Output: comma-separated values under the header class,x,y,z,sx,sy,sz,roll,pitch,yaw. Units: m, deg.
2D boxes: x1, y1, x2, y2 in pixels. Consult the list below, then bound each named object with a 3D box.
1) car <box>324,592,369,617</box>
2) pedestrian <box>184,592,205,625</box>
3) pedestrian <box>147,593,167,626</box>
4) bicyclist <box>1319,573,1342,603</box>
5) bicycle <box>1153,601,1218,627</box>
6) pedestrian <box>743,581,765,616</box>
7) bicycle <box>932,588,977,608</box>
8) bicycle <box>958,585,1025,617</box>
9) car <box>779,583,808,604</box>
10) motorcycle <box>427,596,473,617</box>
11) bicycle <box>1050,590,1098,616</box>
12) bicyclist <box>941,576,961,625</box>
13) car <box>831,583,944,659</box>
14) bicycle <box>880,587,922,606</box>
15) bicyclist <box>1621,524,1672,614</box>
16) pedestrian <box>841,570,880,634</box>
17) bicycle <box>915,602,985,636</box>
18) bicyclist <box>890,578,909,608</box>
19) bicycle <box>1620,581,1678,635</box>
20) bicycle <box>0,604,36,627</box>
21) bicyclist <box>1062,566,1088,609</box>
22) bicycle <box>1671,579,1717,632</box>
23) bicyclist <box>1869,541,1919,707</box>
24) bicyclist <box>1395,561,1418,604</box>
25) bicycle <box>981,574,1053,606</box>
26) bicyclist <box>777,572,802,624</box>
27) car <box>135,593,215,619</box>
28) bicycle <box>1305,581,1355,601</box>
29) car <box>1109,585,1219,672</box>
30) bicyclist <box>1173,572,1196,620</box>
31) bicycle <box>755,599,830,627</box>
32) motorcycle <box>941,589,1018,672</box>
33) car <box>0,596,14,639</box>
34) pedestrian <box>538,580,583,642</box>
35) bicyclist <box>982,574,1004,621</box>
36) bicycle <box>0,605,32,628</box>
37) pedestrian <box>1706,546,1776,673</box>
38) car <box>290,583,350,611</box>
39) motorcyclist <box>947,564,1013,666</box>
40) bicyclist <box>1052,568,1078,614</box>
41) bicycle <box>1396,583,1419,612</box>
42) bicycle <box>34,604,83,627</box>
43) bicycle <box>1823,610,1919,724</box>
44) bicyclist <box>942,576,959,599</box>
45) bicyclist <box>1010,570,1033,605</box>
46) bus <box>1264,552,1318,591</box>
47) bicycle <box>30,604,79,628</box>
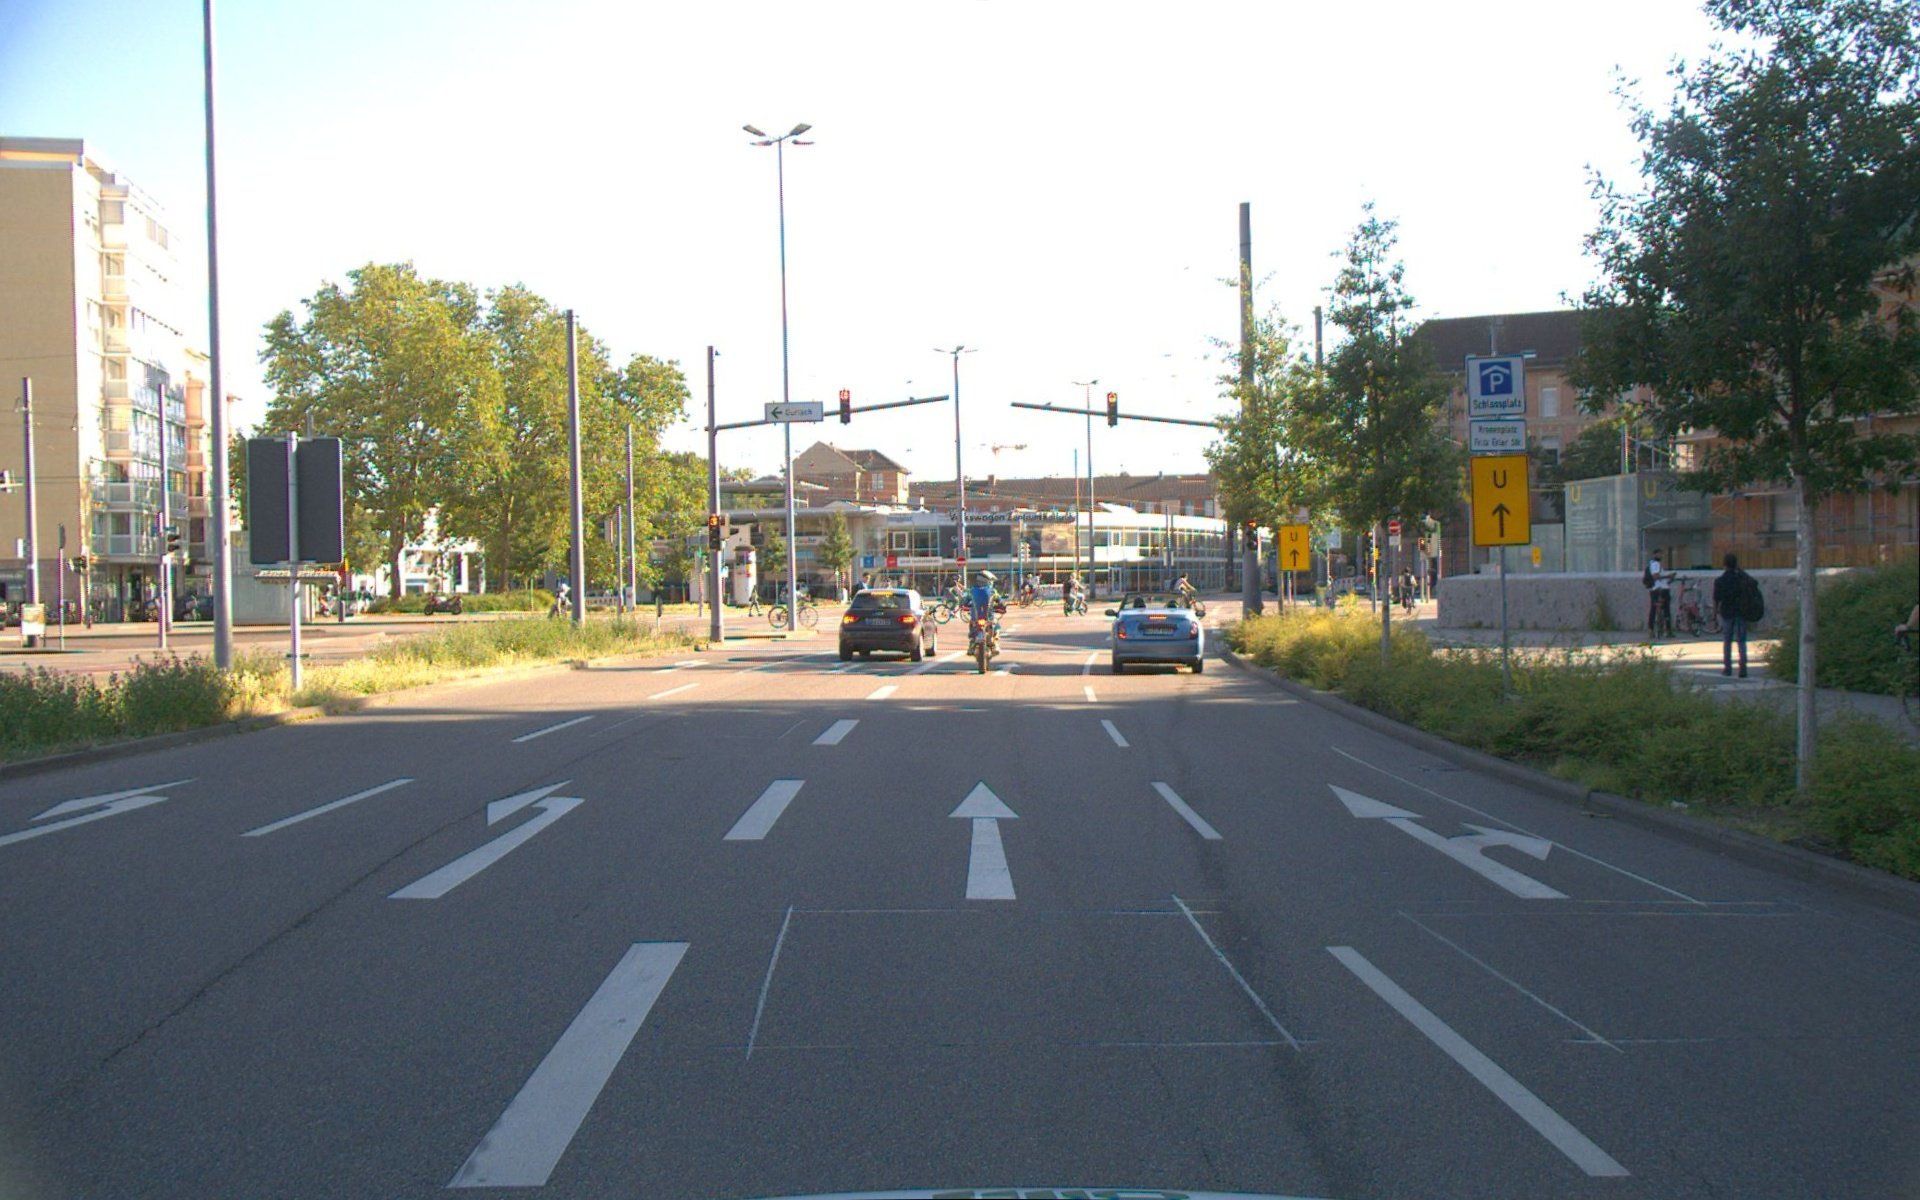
class,x,y,z,sx,sy,sz,roll,pitch,yaw
car,-37.072,0.261,99.972,1.813,1.477,3.991,-1,0,-10
pedestrian,-40.201,0.453,86.875,0.762,1.705,0.780,-1,0,-11
pedestrian,-42.021,0.510,86.550,0.762,1.705,0.780,-1,0,-11
bicyclist,19.879,-0.650,88.842,0.906,1.587,0.961,-1,0,-9
bicycle,8.285,0.509,60.780,2.254,0.921,0.858,-1,2,-10
pedestrian,-10.900,-0.084,87.632,0.968,1.847,0.921,0,2,4
bicycle,-0.283,-0.120,89.048,2.261,0.976,0.856,-2,3,-18
bicycle,1.193,0.042,62.662,2.449,1.153,0.858,-1,2,-12
car,-13.742,-0.525,136.271,1.952,1.561,4.001,0,2,0
motorcycle,-26.853,0.347,87.107,2.241,1.072,0.686,-1,2,-7
bicycle,4.661,0.115,67.490,0.843,0.921,2.294,1,3,37
bicyclist,-0.321,0.002,59.308,0.636,1.720,0.859,0,2,-5
car,-1.436,0.388,34.416,1.762,1.469,3.981,1,1,6
bicycle,-3.278,-0.204,91.599,2.254,0.996,0.858,-1,2,-11
bicyclist,14.412,-0.647,34.733,0.770,1.817,0.894,-3,-1,14
pedestrian,-2.688,0.045,44.696,0.819,1.701,0.691,-1,0,-33
bicycle,-0.350,0.660,59.319,2.445,1.153,0.859,0,2,-6
bicyclist,-3.345,-0.386,91.586,0.907,1.586,0.858,-1,2,-11
bicycle,14.464,0.166,34.771,0.772,1.057,1.964,-3,-1,14
bicycle,-47.742,0.796,83.215,2.007,1.109,0.774,-1,0,-14
bicyclist,4.694,-0.531,67.531,0.843,1.720,0.649,1,2,37
bicycle,15.442,0.107,34.776,0.615,1.057,1.959,-3,-1,31
bicyclist,8.492,0.209,14.225,0.705,1.409,1.074,0,-1,-5
bicyclist,17.542,-0.678,65.011,0.772,1.621,0.948,-3,-1,14
bicycle,3.238,-0.566,93.598,3.917,1.719,1.136,-1,2,-13
bicyclist,-5.879,-0.078,56.900,0.733,1.720,0.857,-1,2,-15
car,-45.664,0.335,96.329,3.923,1.447,1.805,-1,0,-17
bicycle,19.877,-0.472,88.842,2.393,1.021,0.961,-1,0,-10
car,3.830,0.475,30.530,1.762,1.469,3.982,1,1,11
bicyclist,8.236,-0.157,60.745,0.637,1.720,0.858,-1,2,-9
bicycle,-5.771,0.442,56.952,2.452,0.889,0.857,-1,2,-16
motorcycle,0.374,0.513,29.139,1.072,1.401,2.655,0,0,7
car,-44.596,0.777,74.957,3.929,1.889,1.842,2,3,42
pedestrian,-10.811,0.289,44.808,1.071,1.634,0.698,0,2,-5
bicyclist,1.255,-0.098,62.673,0.638,1.720,0.858,-1,2,-12
bicycle,-47.468,0.828,82.387,2.007,1.109,0.774,-1,0,-14
pedestrian,10.544,0.124,22.351,0.789,1.688,0.790,0,0,22
car,-46.939,-0.208,121.335,3.944,1.889,1.835,-1,2,-29
motorcyclist,0.360,0.258,29.019,1.073,1.751,0.937,0,0,7
bicyclist,4.250,-0.363,66.966,0.850,1.809,0.582,-1,0,39
bicycle,17.615,-0.100,65.105,0.772,1.057,1.964,-3,-1,14
bicycle,-45.620,0.767,83.719,2.007,1.109,0.774,-1,0,-14
bicycle,8.483,0.572,14.321,0.705,0.969,2.247,0,-1,-5
bicyclist,-0.522,-0.677,88.962,0.702,1.162,0.833,-1,2,-19
bicyclist,3.472,-0.692,93.688,1.051,1.933,1.119,-1,2,-12
bus,26.650,-2.346,132.848,2.307,2.933,9.577,1,2,23
bicycle,-45.386,0.799,82.906,2.007,1.109,0.774,-1,0,-14
